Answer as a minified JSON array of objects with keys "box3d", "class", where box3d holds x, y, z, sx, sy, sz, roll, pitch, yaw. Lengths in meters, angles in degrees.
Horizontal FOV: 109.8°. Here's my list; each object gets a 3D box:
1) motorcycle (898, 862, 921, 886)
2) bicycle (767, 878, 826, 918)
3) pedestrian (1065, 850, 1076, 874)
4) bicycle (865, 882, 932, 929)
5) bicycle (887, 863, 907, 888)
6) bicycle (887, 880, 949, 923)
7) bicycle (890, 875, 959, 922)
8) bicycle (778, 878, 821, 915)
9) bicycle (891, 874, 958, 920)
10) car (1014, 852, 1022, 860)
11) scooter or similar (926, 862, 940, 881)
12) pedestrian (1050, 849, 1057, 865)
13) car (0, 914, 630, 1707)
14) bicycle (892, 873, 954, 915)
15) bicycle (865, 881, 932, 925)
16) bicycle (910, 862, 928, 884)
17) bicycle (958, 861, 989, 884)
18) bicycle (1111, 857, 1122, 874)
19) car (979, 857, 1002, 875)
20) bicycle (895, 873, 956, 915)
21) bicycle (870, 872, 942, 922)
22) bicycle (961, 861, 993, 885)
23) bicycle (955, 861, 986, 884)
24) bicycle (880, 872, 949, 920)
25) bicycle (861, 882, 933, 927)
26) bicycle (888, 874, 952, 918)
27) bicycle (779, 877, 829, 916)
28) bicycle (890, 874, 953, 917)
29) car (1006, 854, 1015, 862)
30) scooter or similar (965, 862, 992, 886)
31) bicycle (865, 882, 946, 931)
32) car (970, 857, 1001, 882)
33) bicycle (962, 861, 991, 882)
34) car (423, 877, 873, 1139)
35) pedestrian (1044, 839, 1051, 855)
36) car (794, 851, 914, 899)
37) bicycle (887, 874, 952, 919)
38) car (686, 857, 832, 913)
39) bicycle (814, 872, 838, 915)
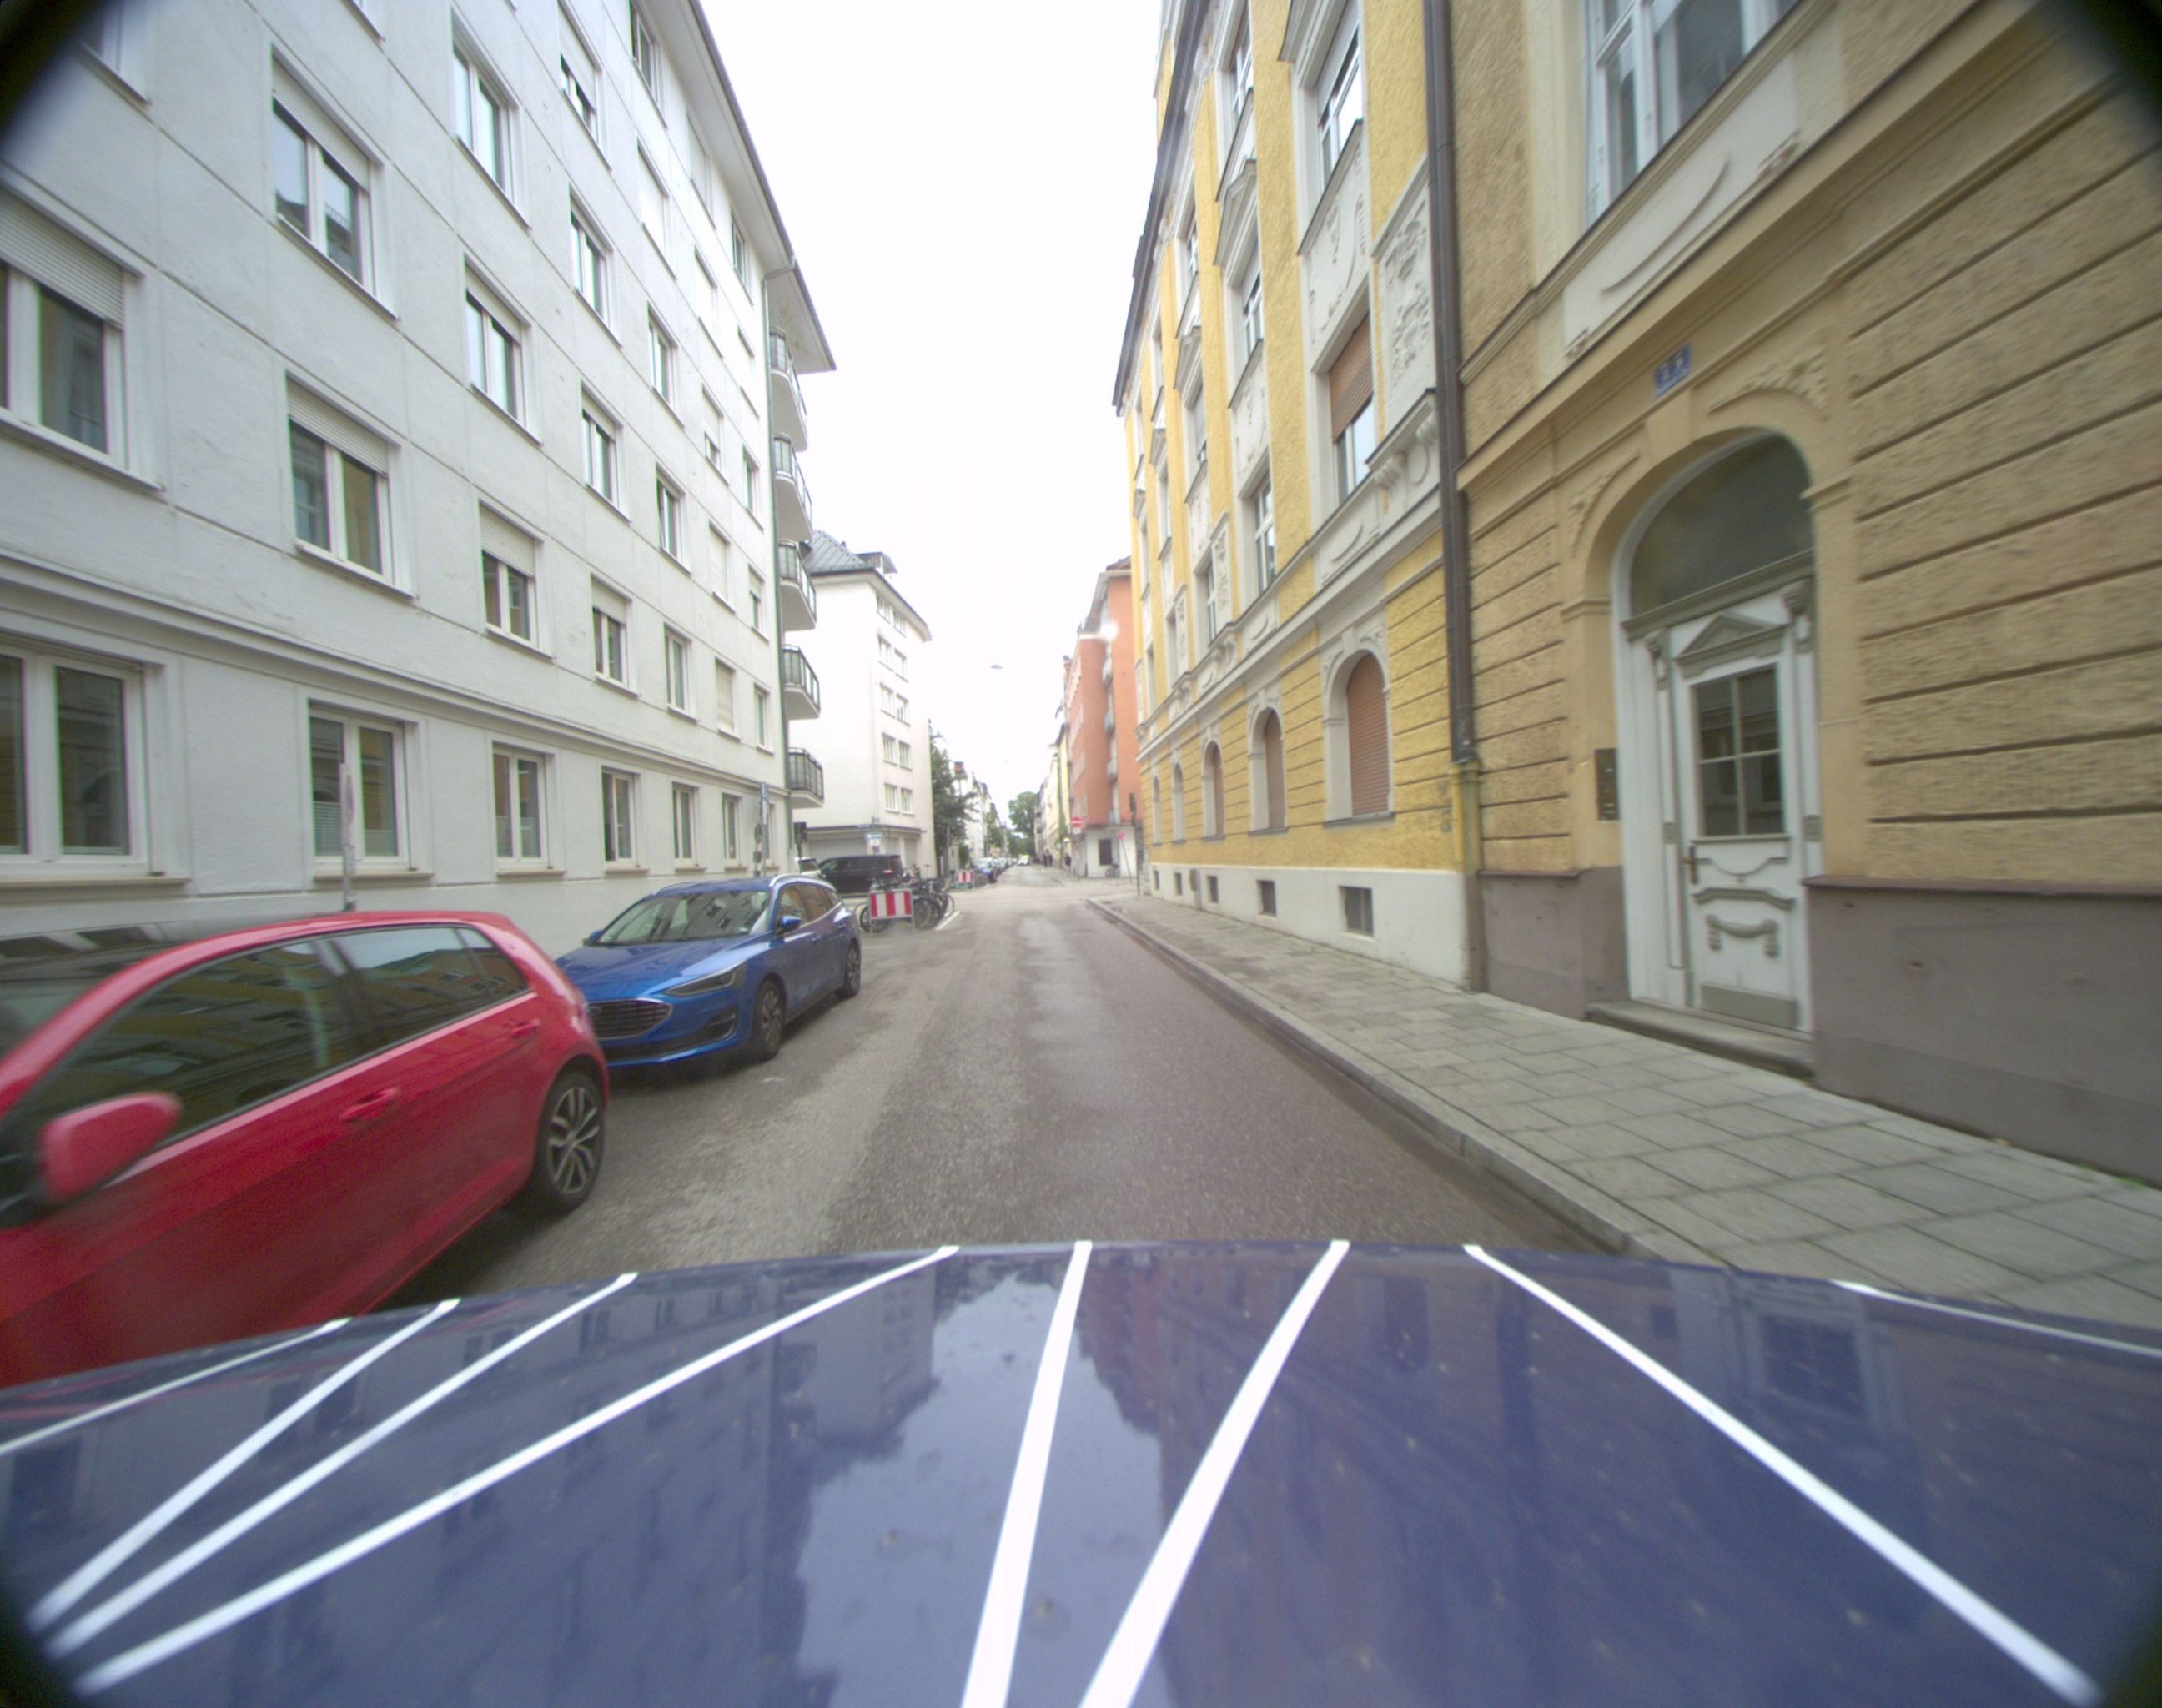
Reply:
[{"box3d":[-9.436,1.072,41.883,0.660,1.225,1.936,-2,0,4],"class":"motorcycle"},{"box3d":[-7.807,1.201,20.855,1.503,1.037,0.398,-1,1,-23],"class":"bicycle"},{"box3d":[-0.750,0.545,53.850,0.613,1.684,0.565,-2,1,-5],"class":"pedestrian"},{"box3d":[-4.162,1.168,17.345,1.439,1.037,0.330,0,1,4],"class":"bicycle"},{"box3d":[-9.660,1.124,40.002,0.528,1.207,1.610,-2,1,4],"class":"bicycle"},{"box3d":[-3.989,1.159,18.612,1.441,1.037,0.360,0,1,4],"class":"bicycle"},{"box3d":[-4.164,1.171,20.273,1.700,1.154,0.378,-2,1,-5],"class":"bicycle"},{"box3d":[-8.158,1.221,22.035,1.129,1.037,0.398,-1,1,-23],"class":"bicycle"},{"box3d":[-4.233,1.171,20.668,1.700,1.154,0.378,-2,1,-5],"class":"bicycle"},{"box3d":[-15.741,0.447,190.131,1.999,2.002,4.644,-3,0,-5],"class":"car"},{"box3d":[-9.149,1.066,47.039,0.407,1.160,1.494,-2,1,4],"class":"scooter or similar"},{"box3d":[-3.035,0.347,85.276,0.700,1.783,0.763,-2,1,-4],"class":"pedestrian"},{"box3d":[-2.996,1.089,1.845,1.767,1.438,4.295,-4,0,-10],"class":"car"},{"box3d":[-4.630,1.164,22.310,1.700,1.154,0.313,-2,1,-5],"class":"bicycle"},{"box3d":[-4.372,1.167,18.245,1.520,1.037,0.360,0,1,4],"class":"bicycle"},{"box3d":[-9.353,1.111,43.961,0.528,1.207,1.610,-2,1,4],"class":"bicycle"},{"box3d":[-5.983,1.050,42.294,1.608,1.207,0.529,-2,1,-2],"class":"bicycle"},{"box3d":[2.018,0.671,43.250,0.472,0.923,1.513,-2,0,-3],"class":"bicycle"},{"box3d":[-7.427,0.964,62.918,1.654,1.390,3.998,-2,0,-4],"class":"car"},{"box3d":[-4.648,1.180,22.716,1.700,1.154,0.418,-2,1,-5],"class":"bicycle"},{"box3d":[-4.443,1.087,19.362,1.700,1.154,0.378,-2,1,-5],"class":"bicycle"},{"box3d":[-5.708,1.045,41.742,1.608,1.207,0.529,-2,1,-2],"class":"bicycle"},{"box3d":[-6.227,1.054,42.840,1.608,1.207,0.529,-2,1,-2],"class":"bicycle"},{"box3d":[-4.329,1.074,19.783,1.667,1.154,0.378,-2,1,-5],"class":"bicycle"},{"box3d":[-4.274,1.170,17.700,1.591,1.037,0.323,0,1,4],"class":"bicycle"},{"box3d":[-4.562,1.181,21.616,1.700,1.154,0.378,-2,1,-5],"class":"bicycle"},{"box3d":[-7.808,1.199,21.452,1.297,1.037,0.398,-1,1,-23],"class":"bicycle"},{"box3d":[-4.596,1.185,21.982,1.700,1.154,0.313,-2,1,-5],"class":"bicycle"},{"box3d":[-13.082,0.769,141.008,1.654,1.390,3.998,-2,0,-4],"class":"car"},{"box3d":[-5.447,1.047,40.332,1.341,1.207,0.344,-2,1,-2],"class":"scooter or similar"},{"box3d":[-3.881,1.163,16.899,1.707,1.037,0.360,0,1,-4],"class":"bicycle"},{"box3d":[-5.988,0.937,48.134,1.654,1.390,3.998,-2,0,-4],"class":"car"},{"box3d":[-6.210,1.031,45.264,1.608,1.207,0.529,-2,1,-2],"class":"bicycle"},{"box3d":[-3.407,1.065,7.150,1.799,1.430,4.382,-4,0,-3],"class":"car"},{"box3d":[-3.741,-0.821,85.204,0.726,1.783,0.829,-2,1,-4],"class":"pedestrian"},{"box3d":[-10.079,0.922,34.001,4.678,1.880,1.934,-2,0,4],"class":"car"},{"box3d":[-4.494,1.182,21.222,1.700,1.154,0.378,-2,1,-5],"class":"bicycle"},{"box3d":[-12.018,1.125,28.562,4.616,1.862,1.934,-2,1,4],"class":"car"},{"box3d":[-7.625,1.154,22.722,0.400,1.197,1.502,-1,1,-29],"class":"bicycle"}]
